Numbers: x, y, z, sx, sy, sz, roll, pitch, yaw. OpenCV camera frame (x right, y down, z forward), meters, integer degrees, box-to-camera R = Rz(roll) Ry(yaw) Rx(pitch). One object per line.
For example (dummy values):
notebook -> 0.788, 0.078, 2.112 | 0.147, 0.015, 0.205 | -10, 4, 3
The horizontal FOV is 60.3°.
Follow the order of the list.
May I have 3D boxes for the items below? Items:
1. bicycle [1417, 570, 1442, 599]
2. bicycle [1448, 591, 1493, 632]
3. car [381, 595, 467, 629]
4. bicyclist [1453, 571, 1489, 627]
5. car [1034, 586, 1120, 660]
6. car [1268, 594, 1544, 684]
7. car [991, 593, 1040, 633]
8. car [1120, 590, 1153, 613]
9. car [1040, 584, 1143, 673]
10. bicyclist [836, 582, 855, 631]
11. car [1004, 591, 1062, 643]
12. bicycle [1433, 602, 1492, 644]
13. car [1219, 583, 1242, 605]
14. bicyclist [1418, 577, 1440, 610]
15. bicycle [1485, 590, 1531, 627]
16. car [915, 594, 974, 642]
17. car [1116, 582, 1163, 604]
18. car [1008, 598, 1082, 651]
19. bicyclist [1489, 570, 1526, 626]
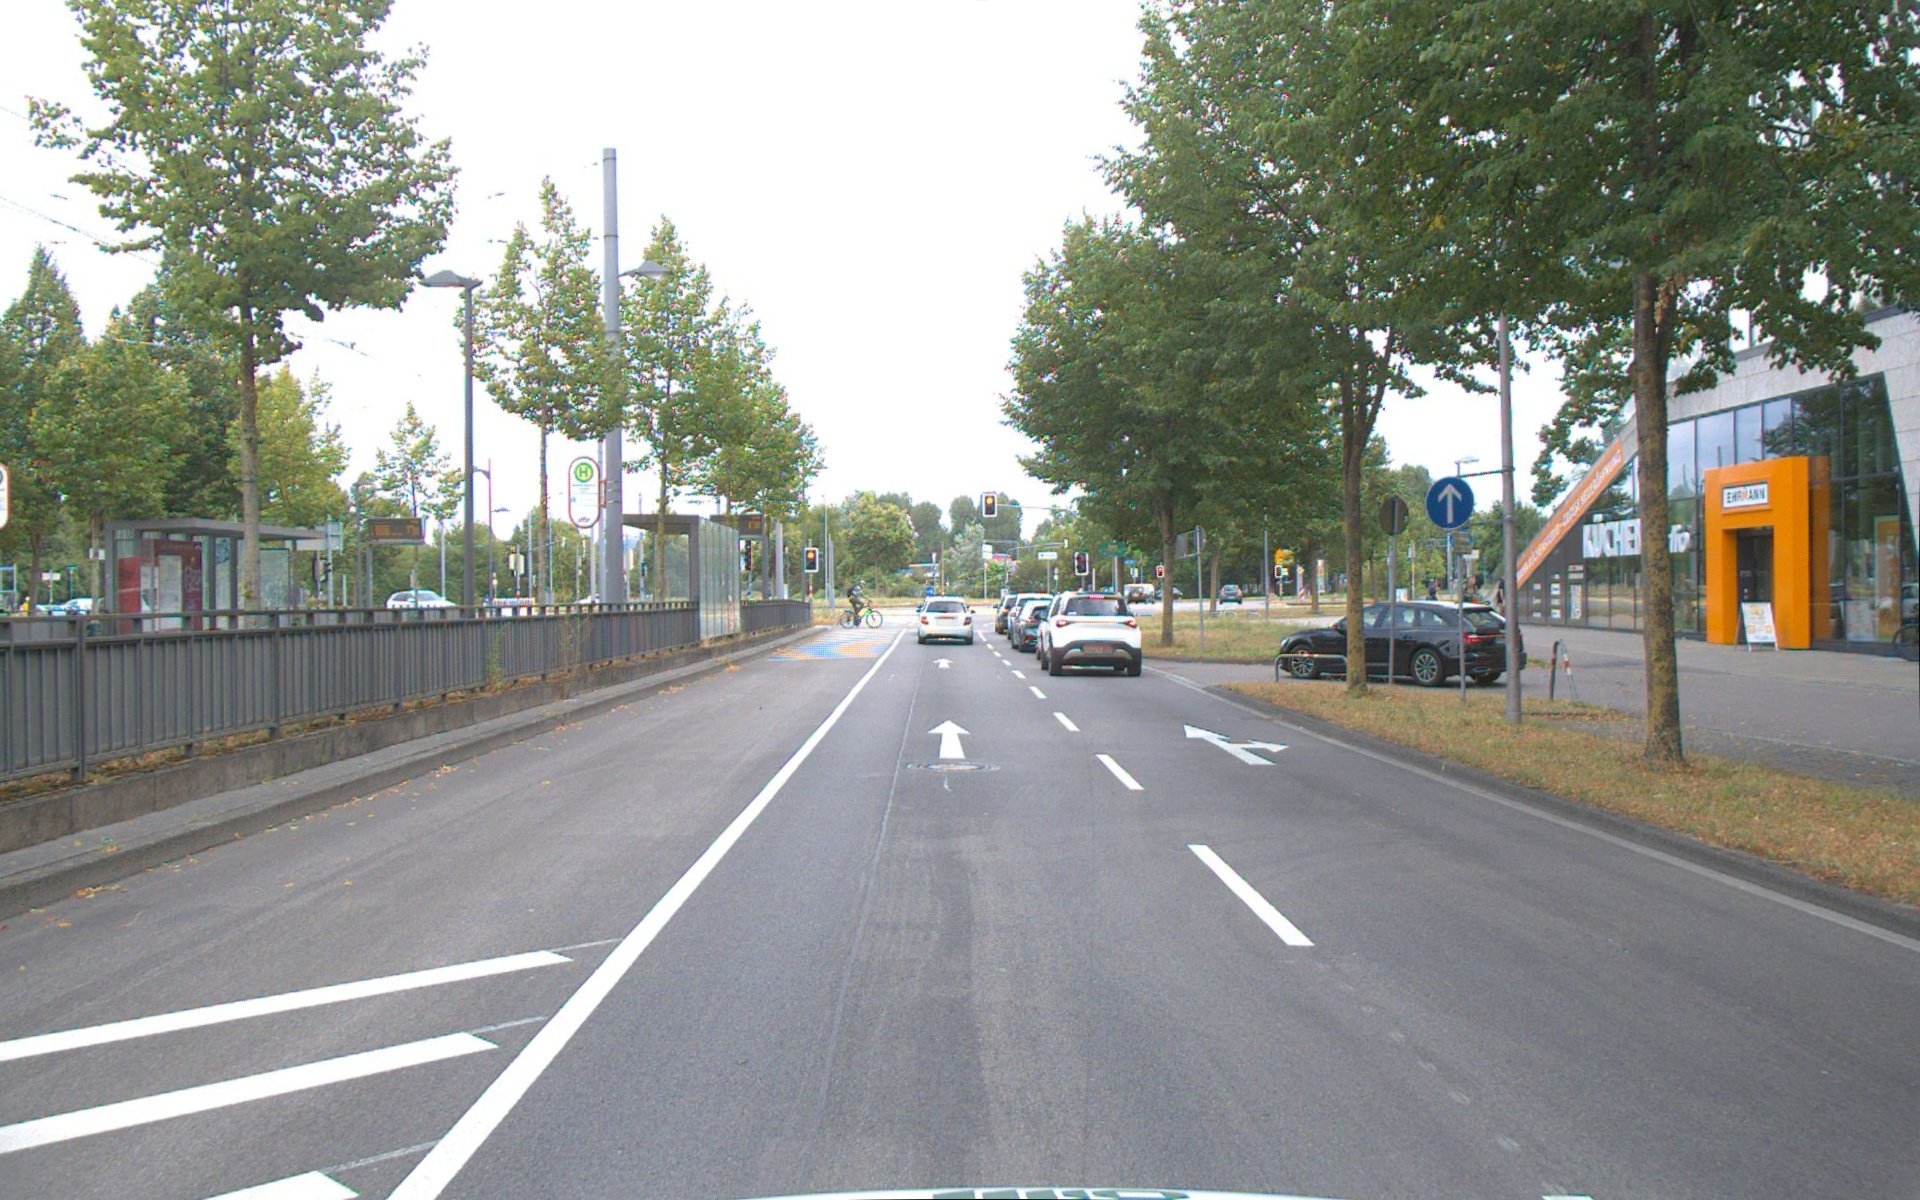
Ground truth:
bicycle -> 25.897, -0.845, 91.184 | 0.691, 1.532, 2.006 | 2, 0, -3
bicycle -> 14.881, 0.323, 48.269 | 0.659, 1.163, 2.007 | -1, 0, -1
car -> -26.915, 0.621, 83.042 | 4.296, 1.646, 1.993 | -1, 0, 36
bicyclist -> 14.884, -0.032, 48.190 | 0.710, 1.610, 0.989 | -1, 0, -1
car -> 2.784, 0.528, 40.127 | 1.742, 1.685, 4.023 | -1, 0, -1
car -> 8.094, 0.666, 30.427 | 1.925, 1.501, 4.810 | -1, 0, -35
car -> 2.133, 0.492, 64.101 | 1.592, 1.474, 3.908 | 1, 0, -2
car -> 14.638, 0.121, 137.196 | 1.955, 1.822, 3.996 | 2, 0, -5
car -> 2.624, 0.547, 33.802 | 1.742, 1.685, 4.023 | -1, 0, -1
bicyclist -> -4.649, 0.254, 67.106 | 0.714, 1.916, 0.735 | -1, 7, -3
car -> 2.457, 0.548, 56.280 | 1.751, 1.653, 3.910 | -1, 0, 0
bicycle -> 12.039, 0.534, 39.698 | 0.617, 0.972, 2.105 | -1, 0, -5
car -> 21.608, -0.476, 132.165 | 1.745, 1.664, 4.406 | -1, 0, 9
bicyclist -> 25.891, -0.343, 91.287 | 0.849, 1.820, 1.174 | -1, 0, -2
bicycle -> 16.117, 0.236, 48.664 | 0.659, 1.060, 2.007 | -1, 0, -1
car -> -0.526, 0.551, 52.973 | 1.738, 1.474, 3.908 | 1, 0, -2
car -> 17.286, -0.718, 159.289 | 1.966, 2.049, 4.967 | 0, 1, 43
car -> 2.435, 0.672, 48.205 | 1.751, 1.457, 4.308 | 0, 0, -3
bicyclist -> 16.115, -0.060, 48.691 | 0.710, 1.610, 0.989 | 1, 0, -1
